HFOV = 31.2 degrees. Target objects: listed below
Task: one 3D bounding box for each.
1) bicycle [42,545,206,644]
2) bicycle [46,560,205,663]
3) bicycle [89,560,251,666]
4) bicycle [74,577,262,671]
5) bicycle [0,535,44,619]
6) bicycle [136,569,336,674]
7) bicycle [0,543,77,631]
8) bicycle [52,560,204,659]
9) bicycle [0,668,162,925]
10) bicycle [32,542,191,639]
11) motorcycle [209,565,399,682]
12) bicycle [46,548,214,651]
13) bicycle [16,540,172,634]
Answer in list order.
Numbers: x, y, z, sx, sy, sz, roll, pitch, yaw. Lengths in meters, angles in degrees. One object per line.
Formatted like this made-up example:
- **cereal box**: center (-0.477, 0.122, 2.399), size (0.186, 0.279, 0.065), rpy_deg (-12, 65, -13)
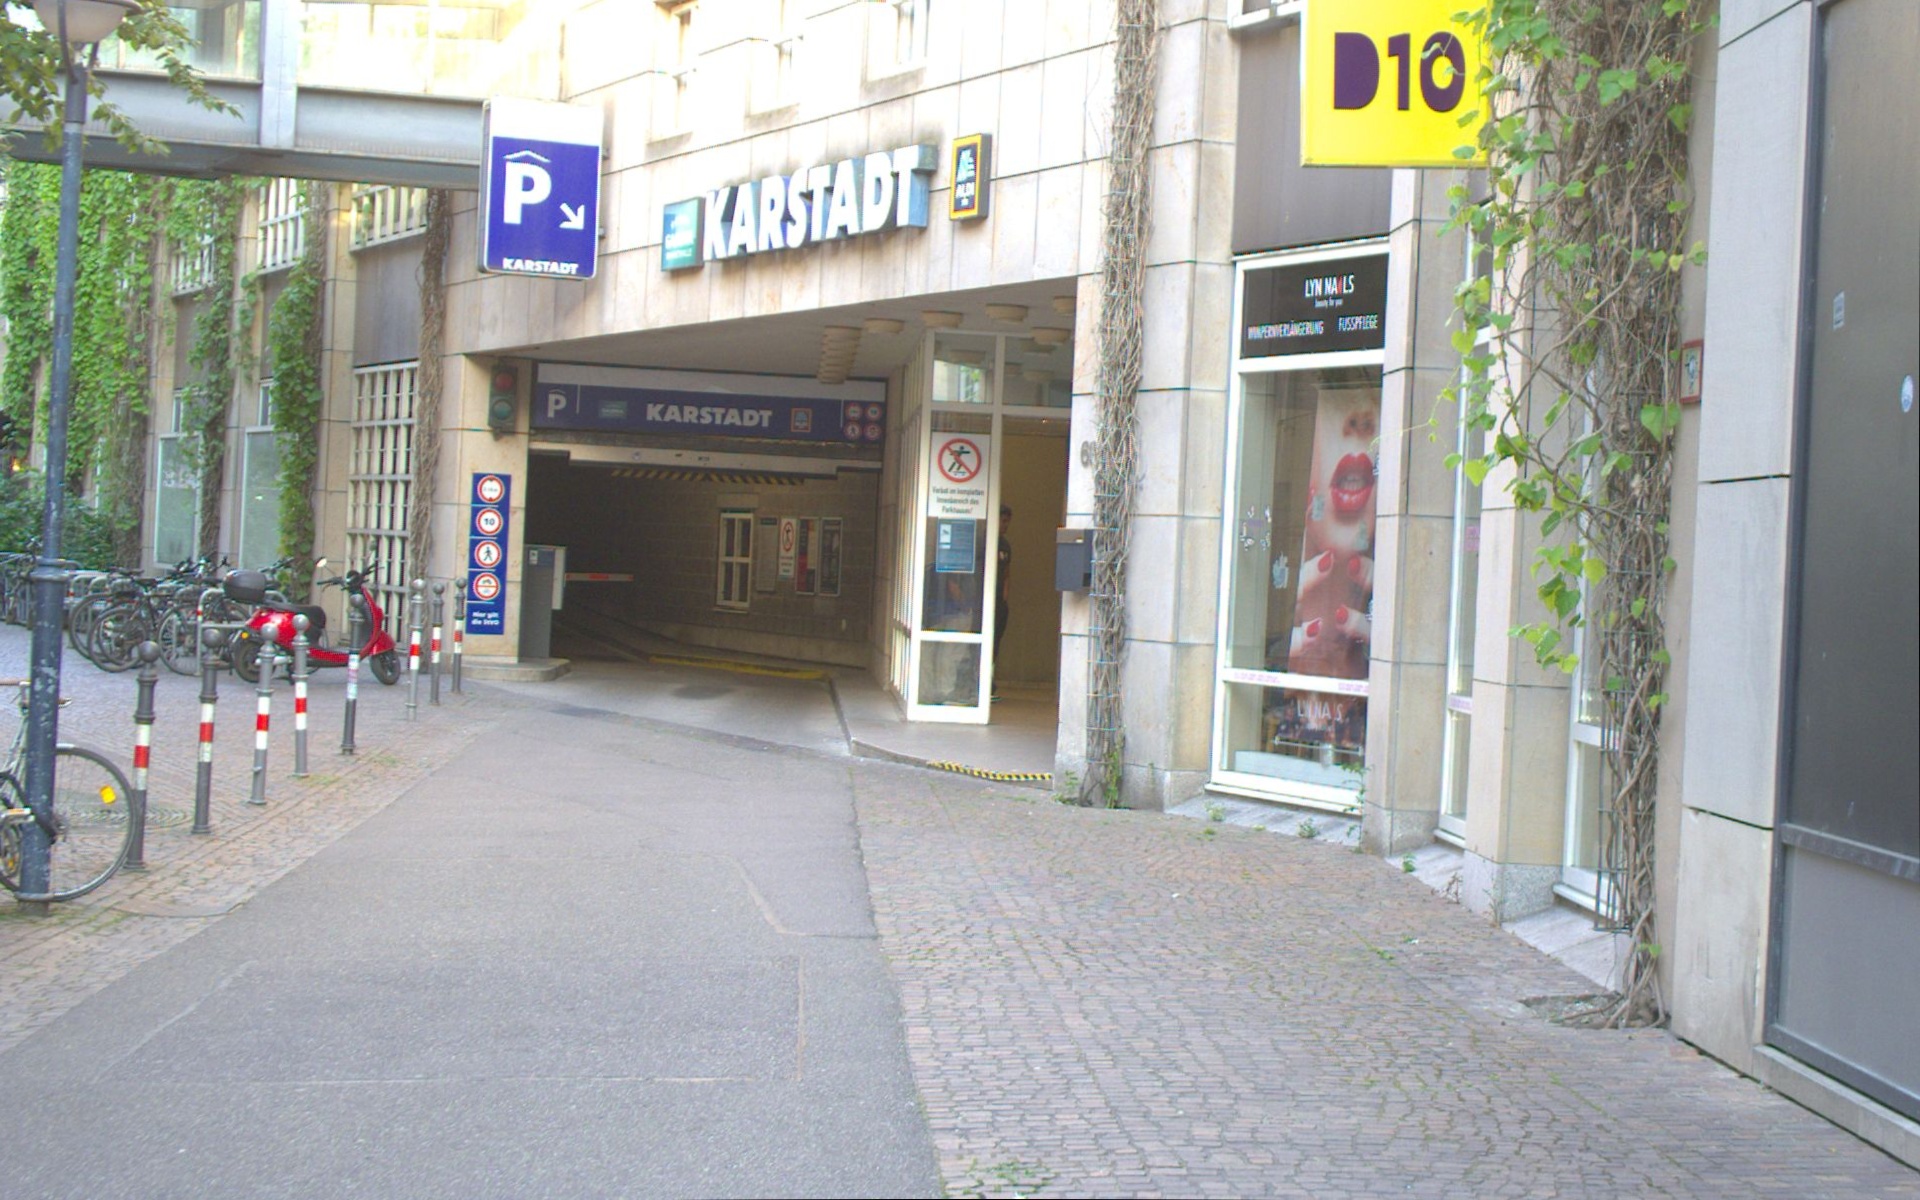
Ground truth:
- **bicycle**: center (-9.780, -0.062, 40.221), size (1.773, 1.110, 0.543), rpy_deg (1, 1, -23)
- **bicycle**: center (-8.890, 0.119, 36.622), size (1.539, 1.045, 0.575), rpy_deg (1, 1, -23)
- **bicycle**: center (-8.199, 0.134, 35.681), size (1.539, 1.045, 0.575), rpy_deg (1, 1, -23)
- **bicycle**: center (-7.997, 0.248, 34.741), size (1.773, 0.901, 0.464), rpy_deg (1, 1, -23)
- **bicycle**: center (-13.302, -0.323, 46.330), size (1.773, 1.110, 0.543), rpy_deg (1, 1, -23)
- **bicycle**: center (-7.146, 0.214, 33.935), size (1.847, 0.978, 0.464), rpy_deg (1, 1, -23)
- **bicycle**: center (-12.408, -0.174, 44.573), size (1.773, 1.110, 0.543), rpy_deg (1, 1, -23)
- **bicycle**: center (-9.203, 0.110, 38.034), size (1.539, 1.045, 0.575), rpy_deg (1, 1, -23)
- **bicycle**: center (-3.831, 0.777, 13.873), size (0.493, 0.935, 1.658), rpy_deg (4, 1, 12)
- **bicycle**: center (-10.216, -0.108, 41.401), size (1.773, 1.110, 0.543), rpy_deg (1, 1, -23)
- **motorcycle**: center (-6.174, 0.222, 32.359), size (1.662, 1.047, 0.464), rpy_deg (1, 1, -23)
- **bicycle**: center (-9.453, -0.006, 39.164), size (1.773, 1.110, 0.543), rpy_deg (1, 1, -23)
- **bicycle**: center (-10.685, -0.158, 42.408), size (1.773, 1.110, 0.543), rpy_deg (1, 1, -23)
